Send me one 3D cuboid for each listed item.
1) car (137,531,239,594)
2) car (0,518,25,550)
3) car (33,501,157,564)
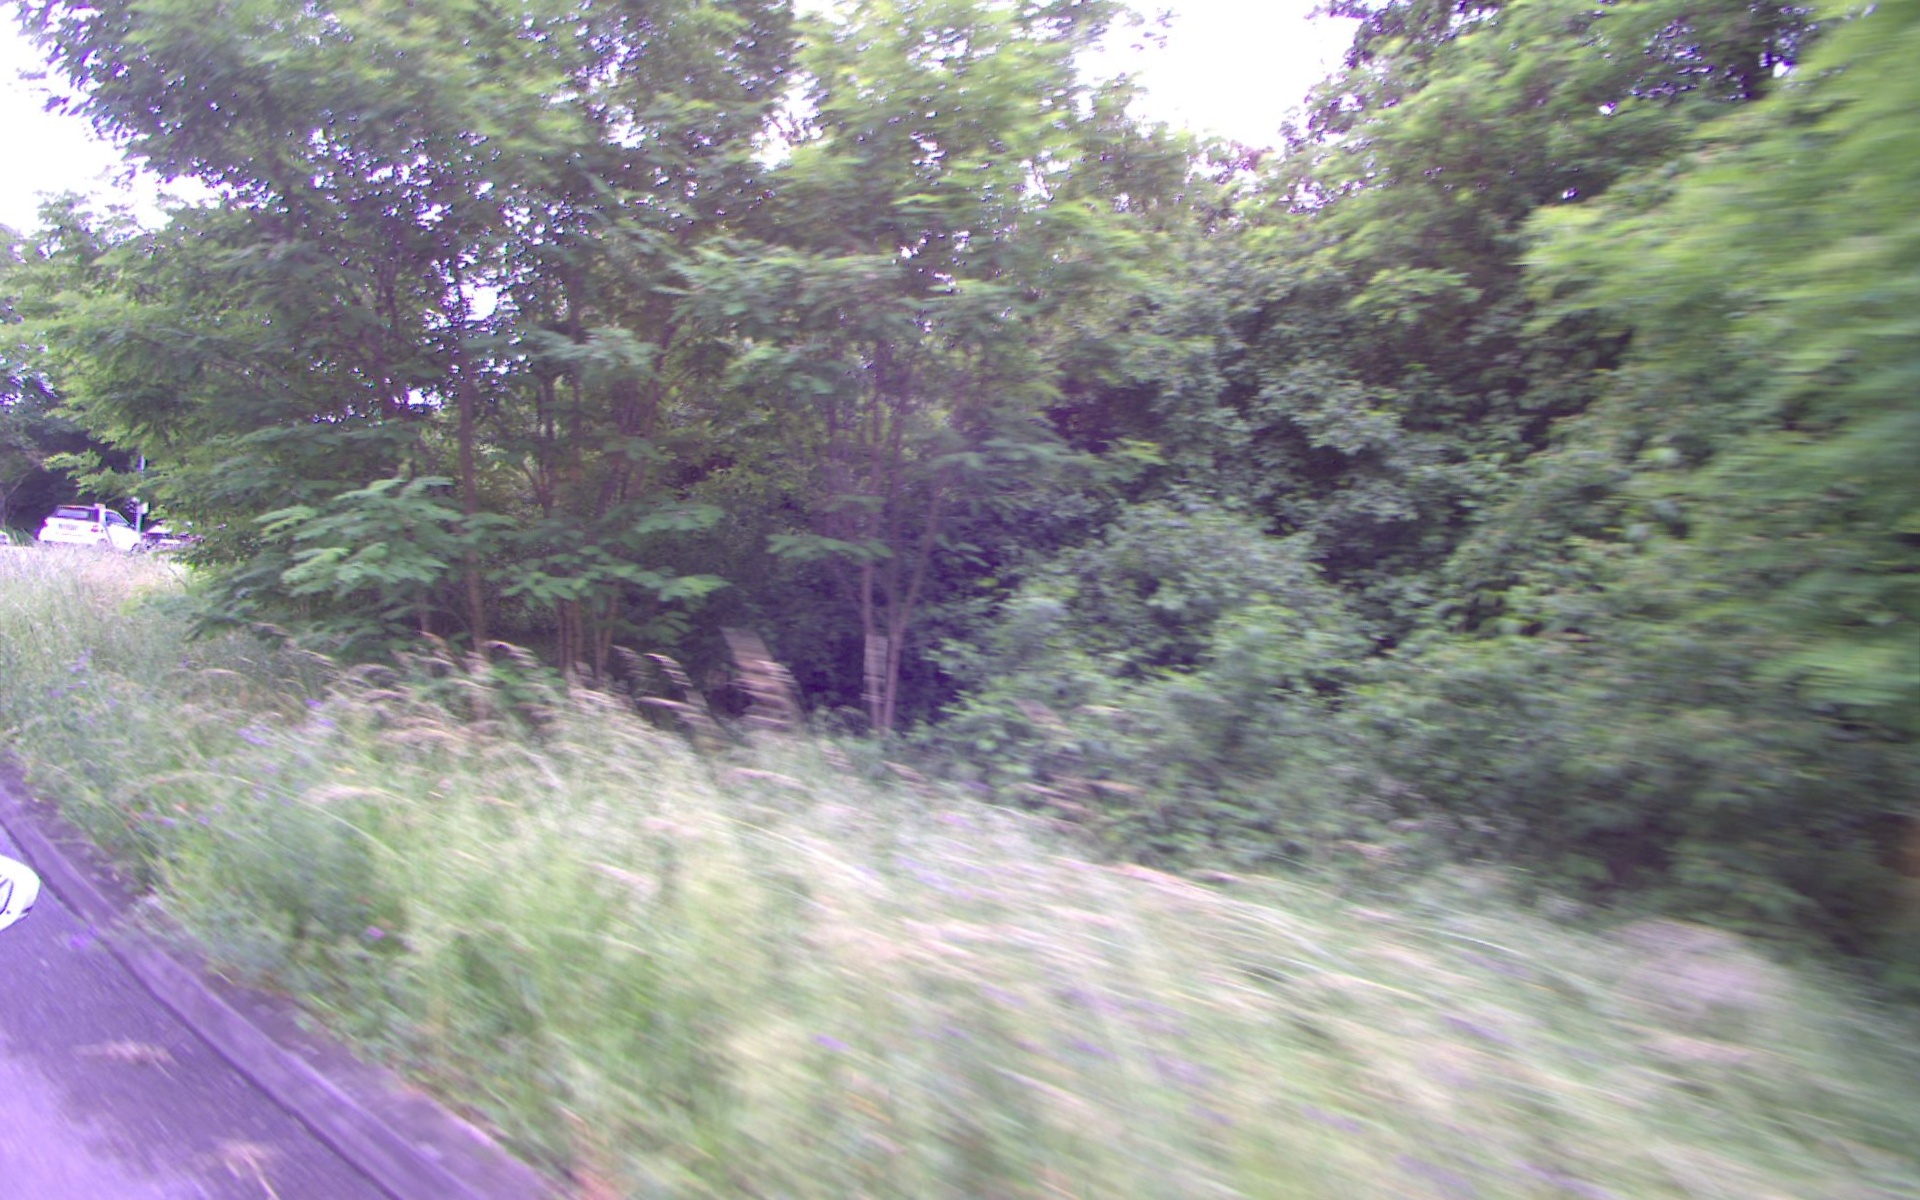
[{"bbox_3d":[-22.911,-1.160,29.990,1.888,1.483,3.966,9,-2,-32],"label":"car"},{"bbox_3d":[-46.942,-3.285,47.001,4.341,1.354,2.000,4,-2,-7],"label":"car"},{"bbox_3d":[-27.568,-2.091,32.165,1.555,1.575,3.012,8,-1,-11],"label":"car"}]
